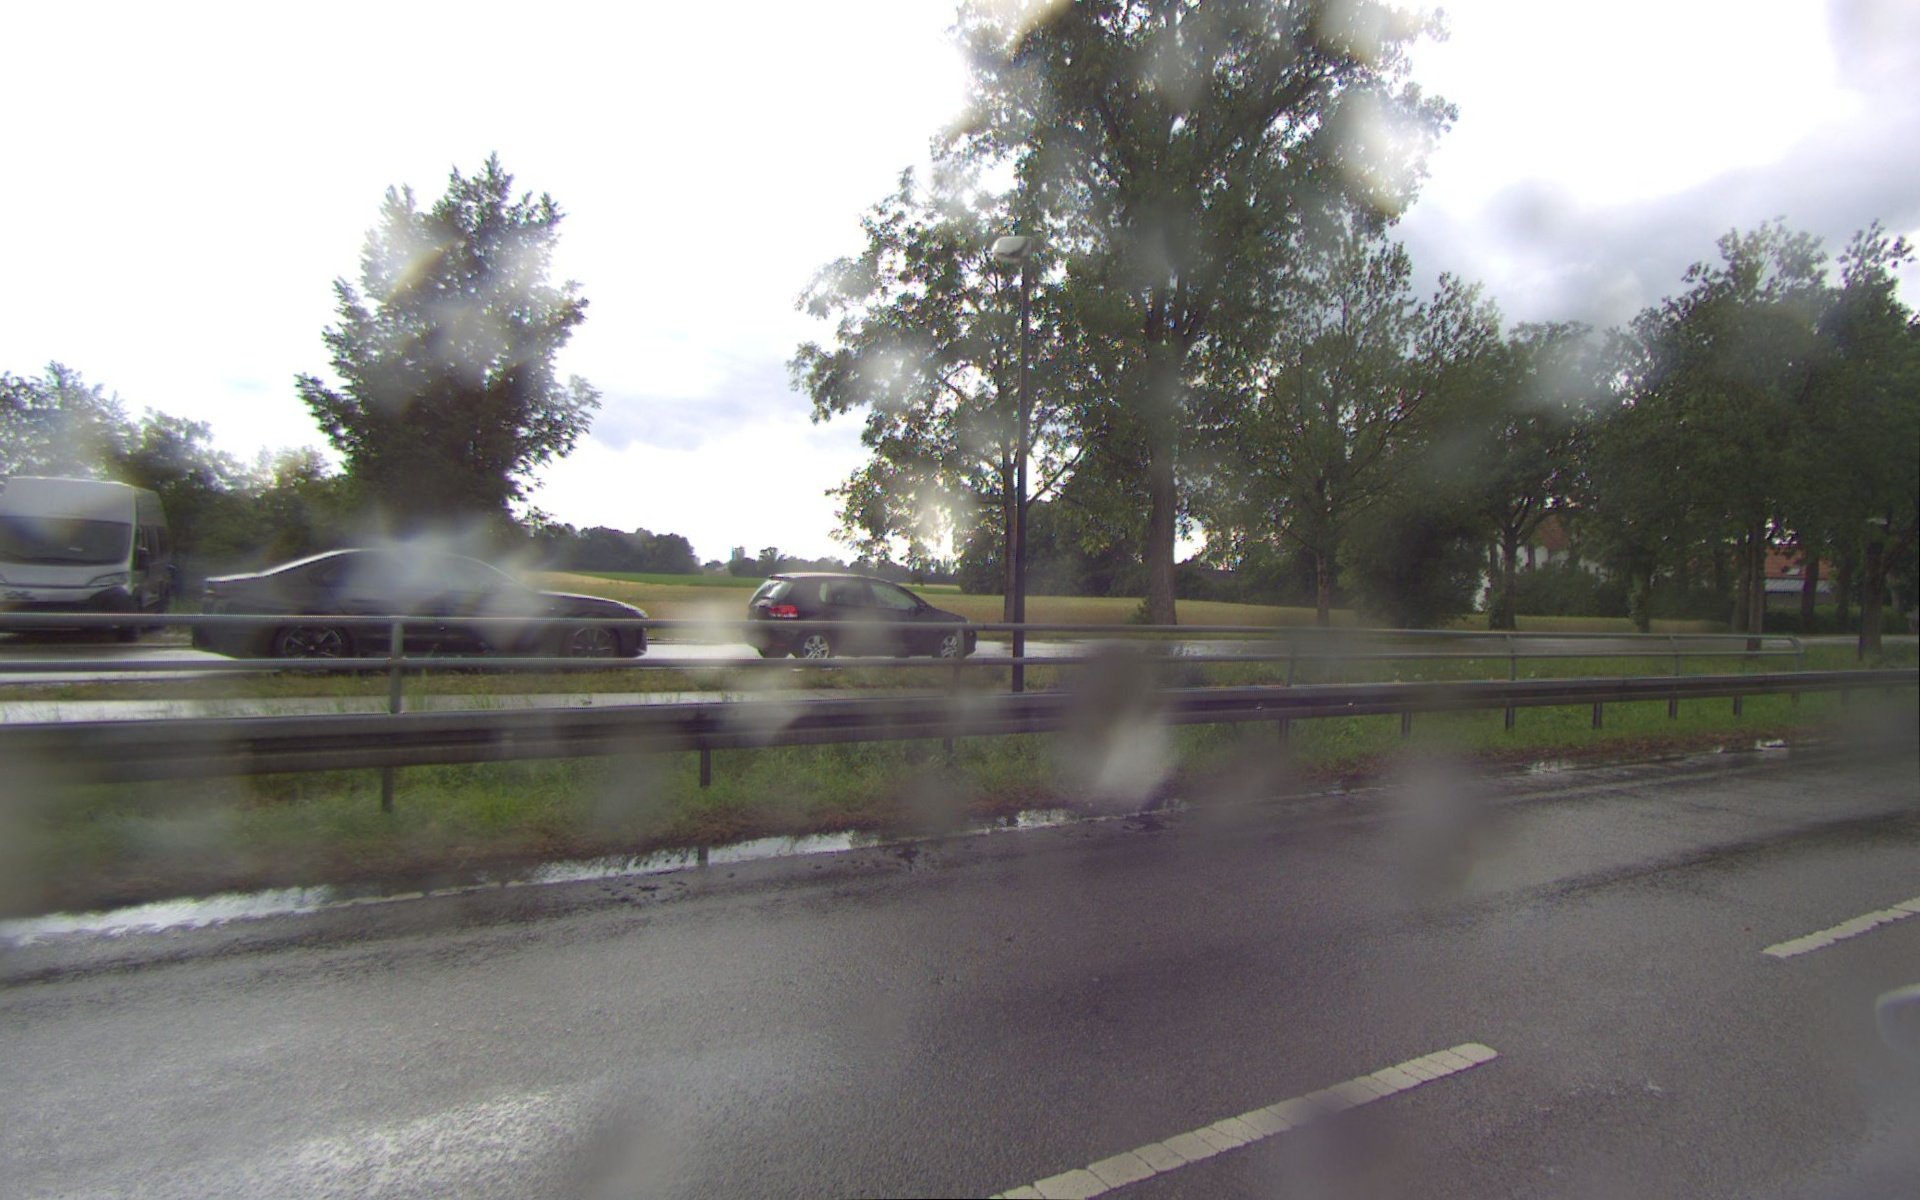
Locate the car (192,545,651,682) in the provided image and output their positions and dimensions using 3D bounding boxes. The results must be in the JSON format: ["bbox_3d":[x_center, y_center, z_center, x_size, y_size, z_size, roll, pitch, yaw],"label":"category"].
[{"bbox_3d":[-6.811,0.185,13.164,5.070,1.511,1.505,1,0,-35],"label":"car"}]

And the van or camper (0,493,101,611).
[{"bbox_3d":[-23.192,-1.193,24.847,1.977,2.625,5.774,1,2,-31],"label":"van or camper"}]

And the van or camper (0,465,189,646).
[{"bbox_3d":[-15.468,-0.768,17.856,2.057,2.713,5.844,1,2,-31],"label":"van or camper"}]

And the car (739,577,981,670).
[{"bbox_3d":[-1.600,0.376,16.759,3.858,1.349,1.274,1,2,-35],"label":"car"}]
